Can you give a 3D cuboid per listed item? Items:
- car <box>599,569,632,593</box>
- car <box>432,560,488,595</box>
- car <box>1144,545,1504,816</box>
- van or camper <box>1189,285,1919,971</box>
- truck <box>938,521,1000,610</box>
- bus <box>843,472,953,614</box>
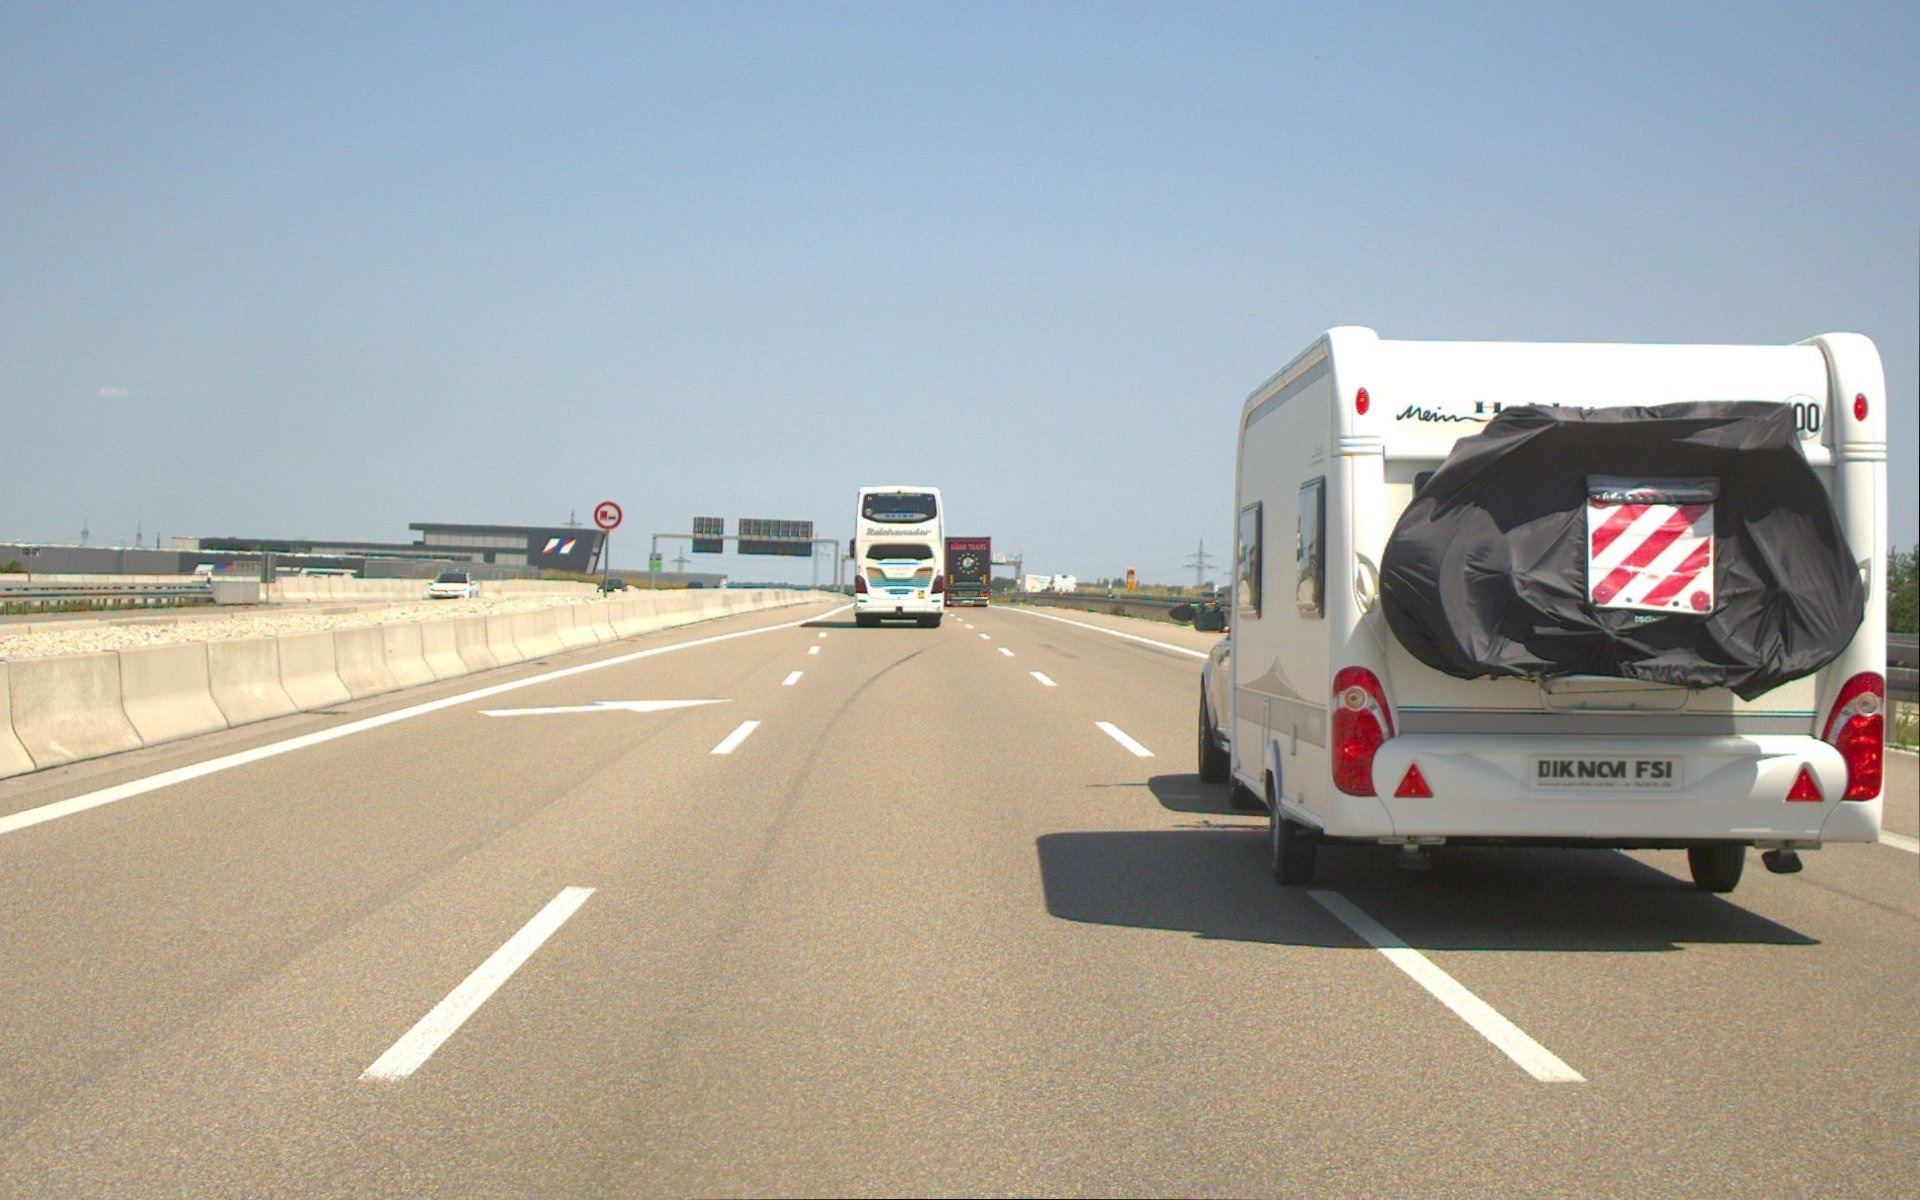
[{"bbox_3d":[-22.639,-1.238,226.180,1.732,1.531,4.549,1,0,-1],"label":"car"},{"bbox_3d":[-21.654,-0.982,149.094,1.809,1.430,4.442,1,0,-1],"label":"car"},{"bbox_3d":[2.341,0.458,23.325,1.880,1.617,4.904,1,1,0],"label":"car"},{"bbox_3d":[2.677,0.058,17.035,2.512,2.584,7.817,1,1,0],"label":"van or camper"},{"bbox_3d":[0.554,-1.931,201.411,3.379,4.449,13.565,2,-2,0],"label":"truck"},{"bbox_3d":[-1.896,-1.664,101.381,2.980,3.961,9.106,1,1,-2],"label":"bus"}]
